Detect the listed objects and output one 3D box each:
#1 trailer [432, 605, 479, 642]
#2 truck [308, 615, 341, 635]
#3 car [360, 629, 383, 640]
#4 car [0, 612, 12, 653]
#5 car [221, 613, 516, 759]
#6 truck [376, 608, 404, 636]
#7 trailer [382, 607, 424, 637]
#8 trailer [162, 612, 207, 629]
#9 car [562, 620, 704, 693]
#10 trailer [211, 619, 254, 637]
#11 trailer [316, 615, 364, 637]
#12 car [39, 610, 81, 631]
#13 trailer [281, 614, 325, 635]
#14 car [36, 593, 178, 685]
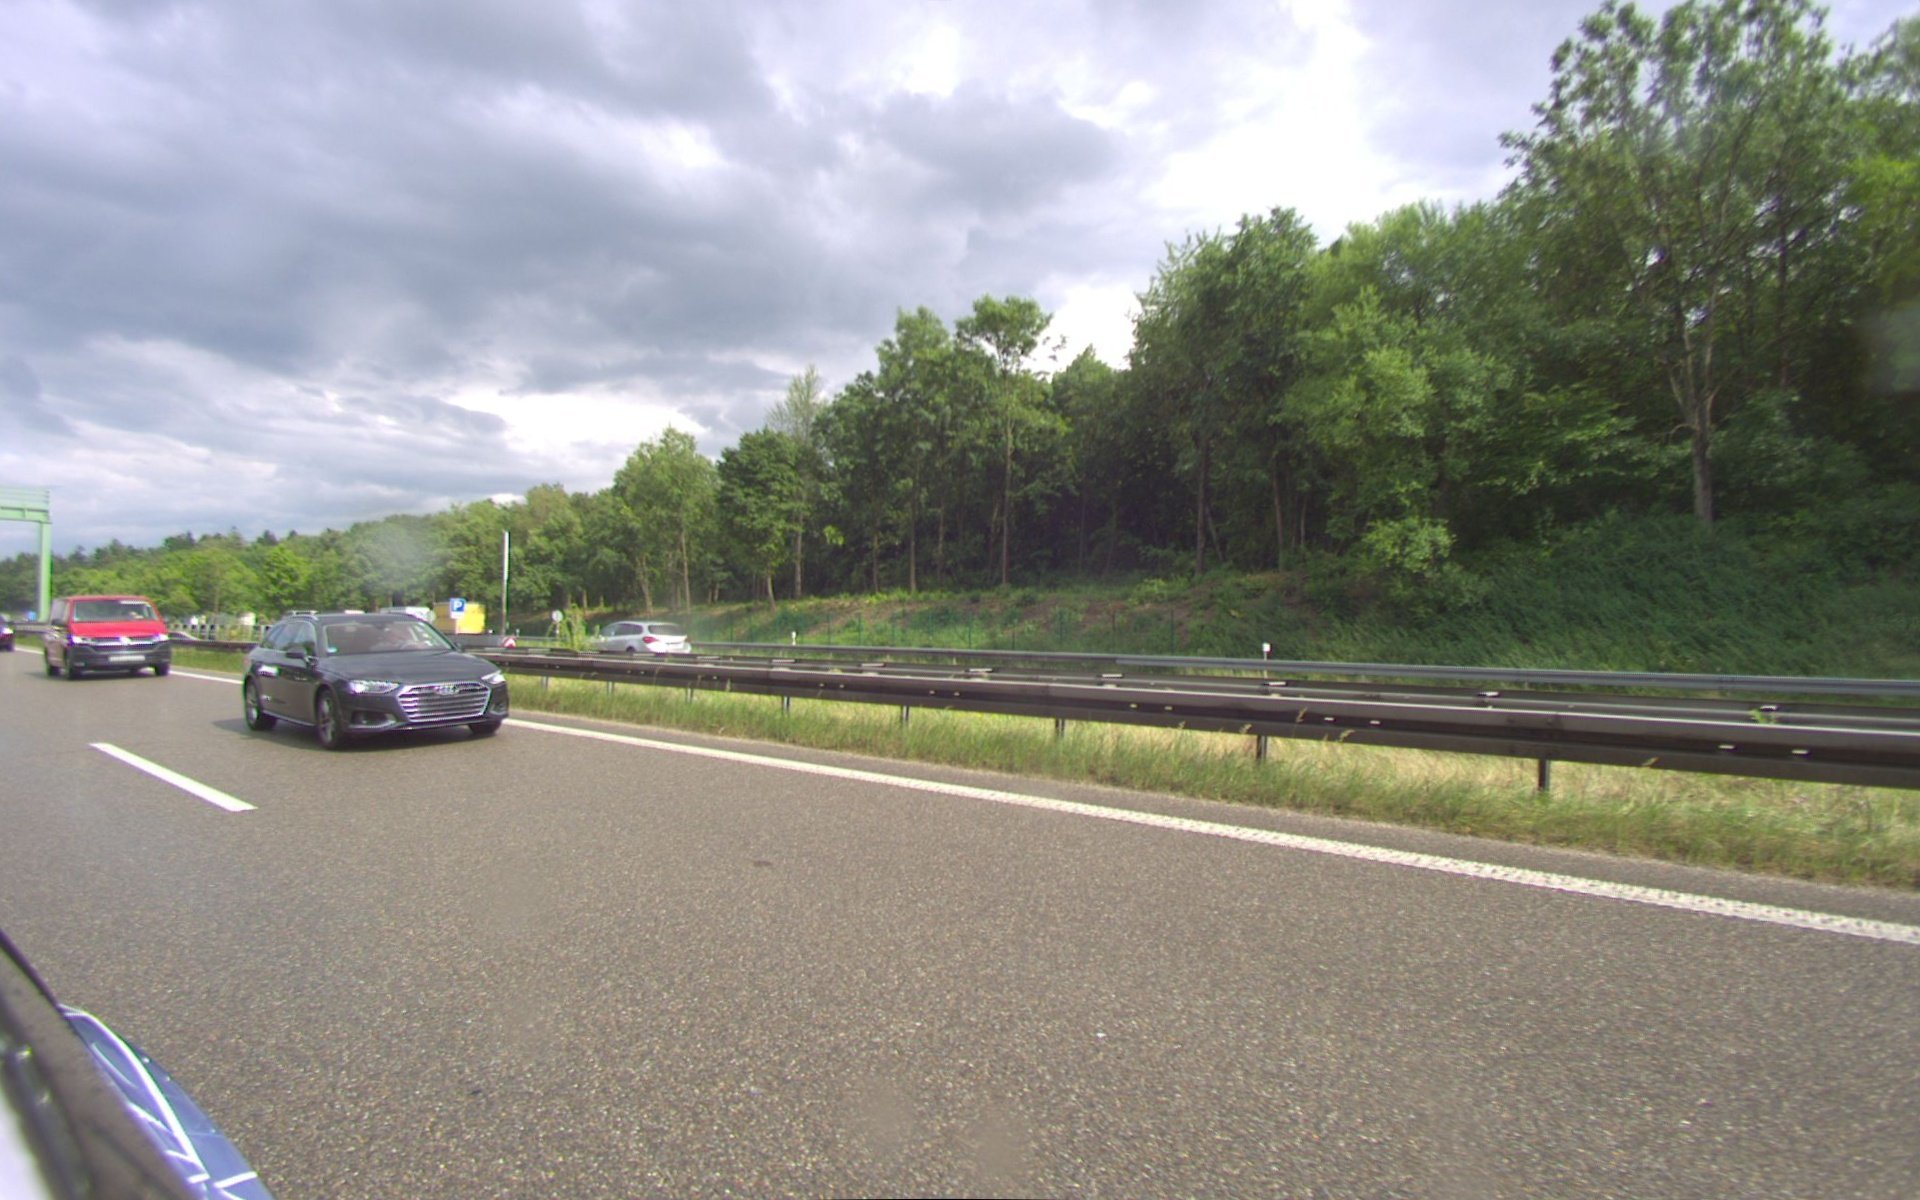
[{"bbox_3d":[-53.833,2.411,107.791,1.967,3.722,13.688,0,0,-37],"label":"trailer"},{"bbox_3d":[-100.551,3.988,160.114,5.596,3.208,3.009,-1,-2,43],"label":"truck"},{"bbox_3d":[-83.803,4.920,144.041,4.002,1.514,1.873,-1,-2,45],"label":"car"},{"bbox_3d":[-40.794,1.340,41.855,4.292,1.682,1.871,-1,-1,41],"label":"car"},{"bbox_3d":[-7.179,0.887,12.081,4.465,1.422,1.701,-1,-1,41],"label":"car"},{"bbox_3d":[-76.685,3.000,136.048,2.136,3.648,5.585,2,-2,-41],"label":"truck"},{"bbox_3d":[-72.107,2.863,130.898,2.156,3.627,11.734,2,-2,-41],"label":"trailer"},{"bbox_3d":[-156.308,4.159,203.856,13.375,3.296,3.050,-1,-2,34],"label":"trailer"},{"bbox_3d":[-10.181,1.659,31.334,4.803,2.029,1.973,-1,0,41],"label":"car"},{"bbox_3d":[-135.998,5.142,189.180,12.631,3.296,3.153,-1,-2,38],"label":"trailer"},{"bbox_3d":[-95.145,4.037,155.140,12.173,3.217,2.987,-1,-2,43],"label":"trailer"},{"bbox_3d":[-73.899,1.685,83.080,4.965,1.692,1.889,-1,-2,41],"label":"car"},{"bbox_3d":[-108.811,4.047,167.541,12.640,3.296,2.577,-1,-2,41],"label":"trailer"},{"bbox_3d":[-20.543,0.895,24.304,4.747,2.000,1.871,-1,-2,41],"label":"car"}]
